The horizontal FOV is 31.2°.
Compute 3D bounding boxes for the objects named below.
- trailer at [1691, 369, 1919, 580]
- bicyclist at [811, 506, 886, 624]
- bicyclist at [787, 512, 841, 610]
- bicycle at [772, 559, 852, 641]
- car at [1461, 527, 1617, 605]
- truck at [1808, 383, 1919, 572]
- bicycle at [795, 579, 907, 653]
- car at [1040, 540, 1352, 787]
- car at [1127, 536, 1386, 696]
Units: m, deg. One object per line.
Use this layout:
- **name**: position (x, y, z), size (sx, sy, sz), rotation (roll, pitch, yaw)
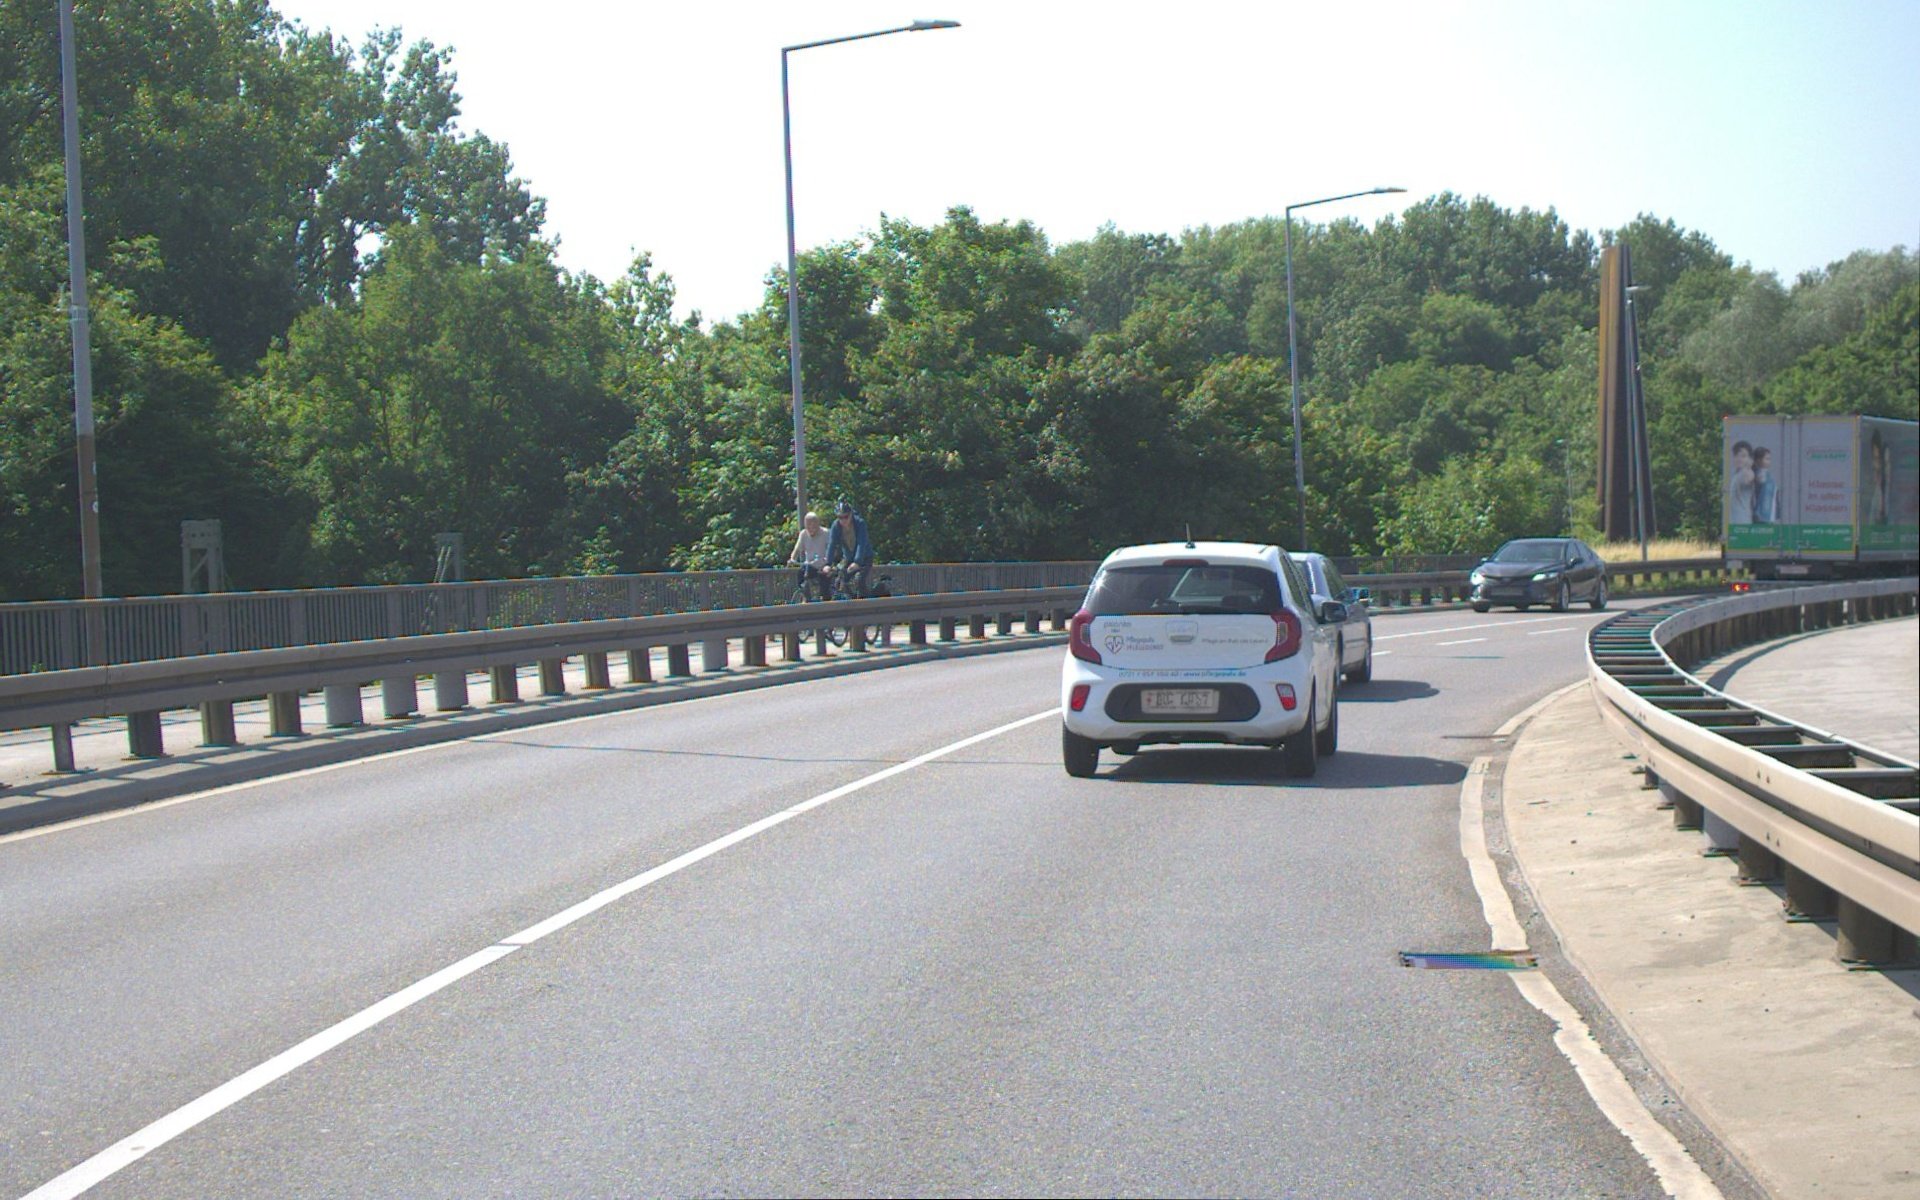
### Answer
- **trailer**: position (16.832, -2.385, 65.851), size (3.230, 3.745, 7.812), rotation (3, 3, 29)
- **bicyclist**: position (-1.444, -0.465, 44.767), size (0.661, 1.491, 1.015), rotation (1, 3, 18)
- **bicyclist**: position (-1.983, -0.523, 46.861), size (0.488, 1.324, 0.946), rotation (0, 0, 14)
- **bicycle**: position (-2.010, -0.011, 46.805), size (0.574, 1.043, 1.709), rotation (-2, 1, 14)
- **car**: position (11.643, -0.701, 68.893), size (1.821, 1.425, 4.858), rotation (-1, 1, 25)
- **truck**: position (20.814, -2.560, 72.904), size (3.266, 3.745, 8.357), rotation (3, 3, 29)
- **bicycle**: position (-1.408, 0.197, 44.825), size (0.929, 0.888, 1.966), rotation (0, 2, 15)
- **car**: position (1.679, 0.384, 23.276), size (1.702, 1.489, 3.998), rotation (1, 0, 9)
- **car**: position (3.087, 0.100, 34.848), size (1.940, 1.481, 4.897), rotation (1, 1, 13)
